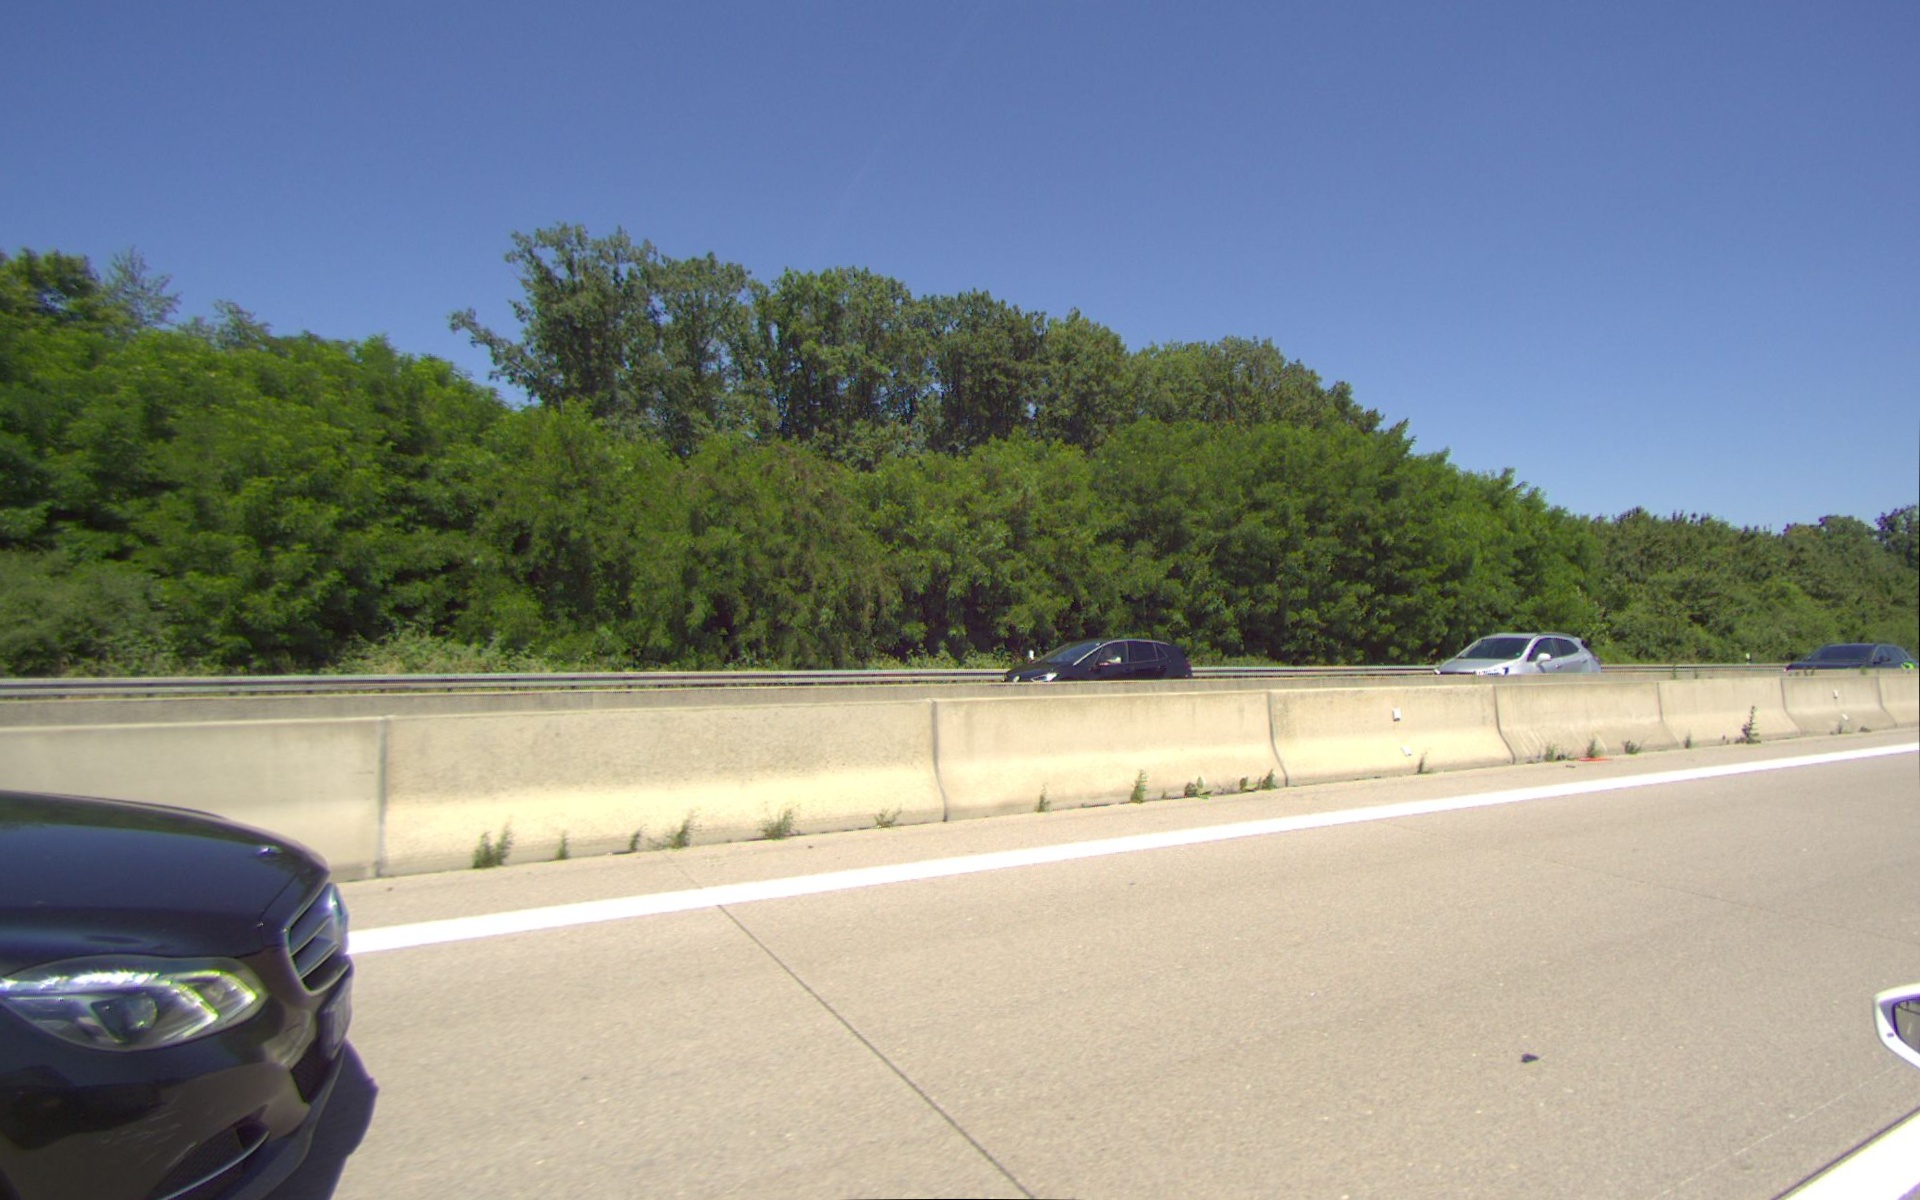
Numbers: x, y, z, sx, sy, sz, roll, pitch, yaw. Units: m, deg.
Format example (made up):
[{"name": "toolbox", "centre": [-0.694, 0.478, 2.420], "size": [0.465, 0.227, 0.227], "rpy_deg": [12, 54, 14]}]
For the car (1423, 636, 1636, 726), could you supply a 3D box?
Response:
[{"name": "car", "centre": [11.978, 1.628, 21.020], "size": [4.872, 1.700, 1.701], "rpy_deg": [2, -2, -31]}]

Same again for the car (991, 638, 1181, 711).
[{"name": "car", "centre": [2.550, 1.438, 20.095], "size": [3.591, 1.336, 1.557], "rpy_deg": [2, -2, -31]}]

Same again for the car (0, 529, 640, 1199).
[{"name": "car", "centre": [-3.559, 0.605, 1.619], "size": [5.538, 1.493, 1.882], "rpy_deg": [1, -1, -31]}]

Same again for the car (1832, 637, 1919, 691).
[{"name": "car", "centre": [27.526, 1.848, 29.524], "size": [3.968, 1.435, 1.691], "rpy_deg": [2, -1, -30]}]
